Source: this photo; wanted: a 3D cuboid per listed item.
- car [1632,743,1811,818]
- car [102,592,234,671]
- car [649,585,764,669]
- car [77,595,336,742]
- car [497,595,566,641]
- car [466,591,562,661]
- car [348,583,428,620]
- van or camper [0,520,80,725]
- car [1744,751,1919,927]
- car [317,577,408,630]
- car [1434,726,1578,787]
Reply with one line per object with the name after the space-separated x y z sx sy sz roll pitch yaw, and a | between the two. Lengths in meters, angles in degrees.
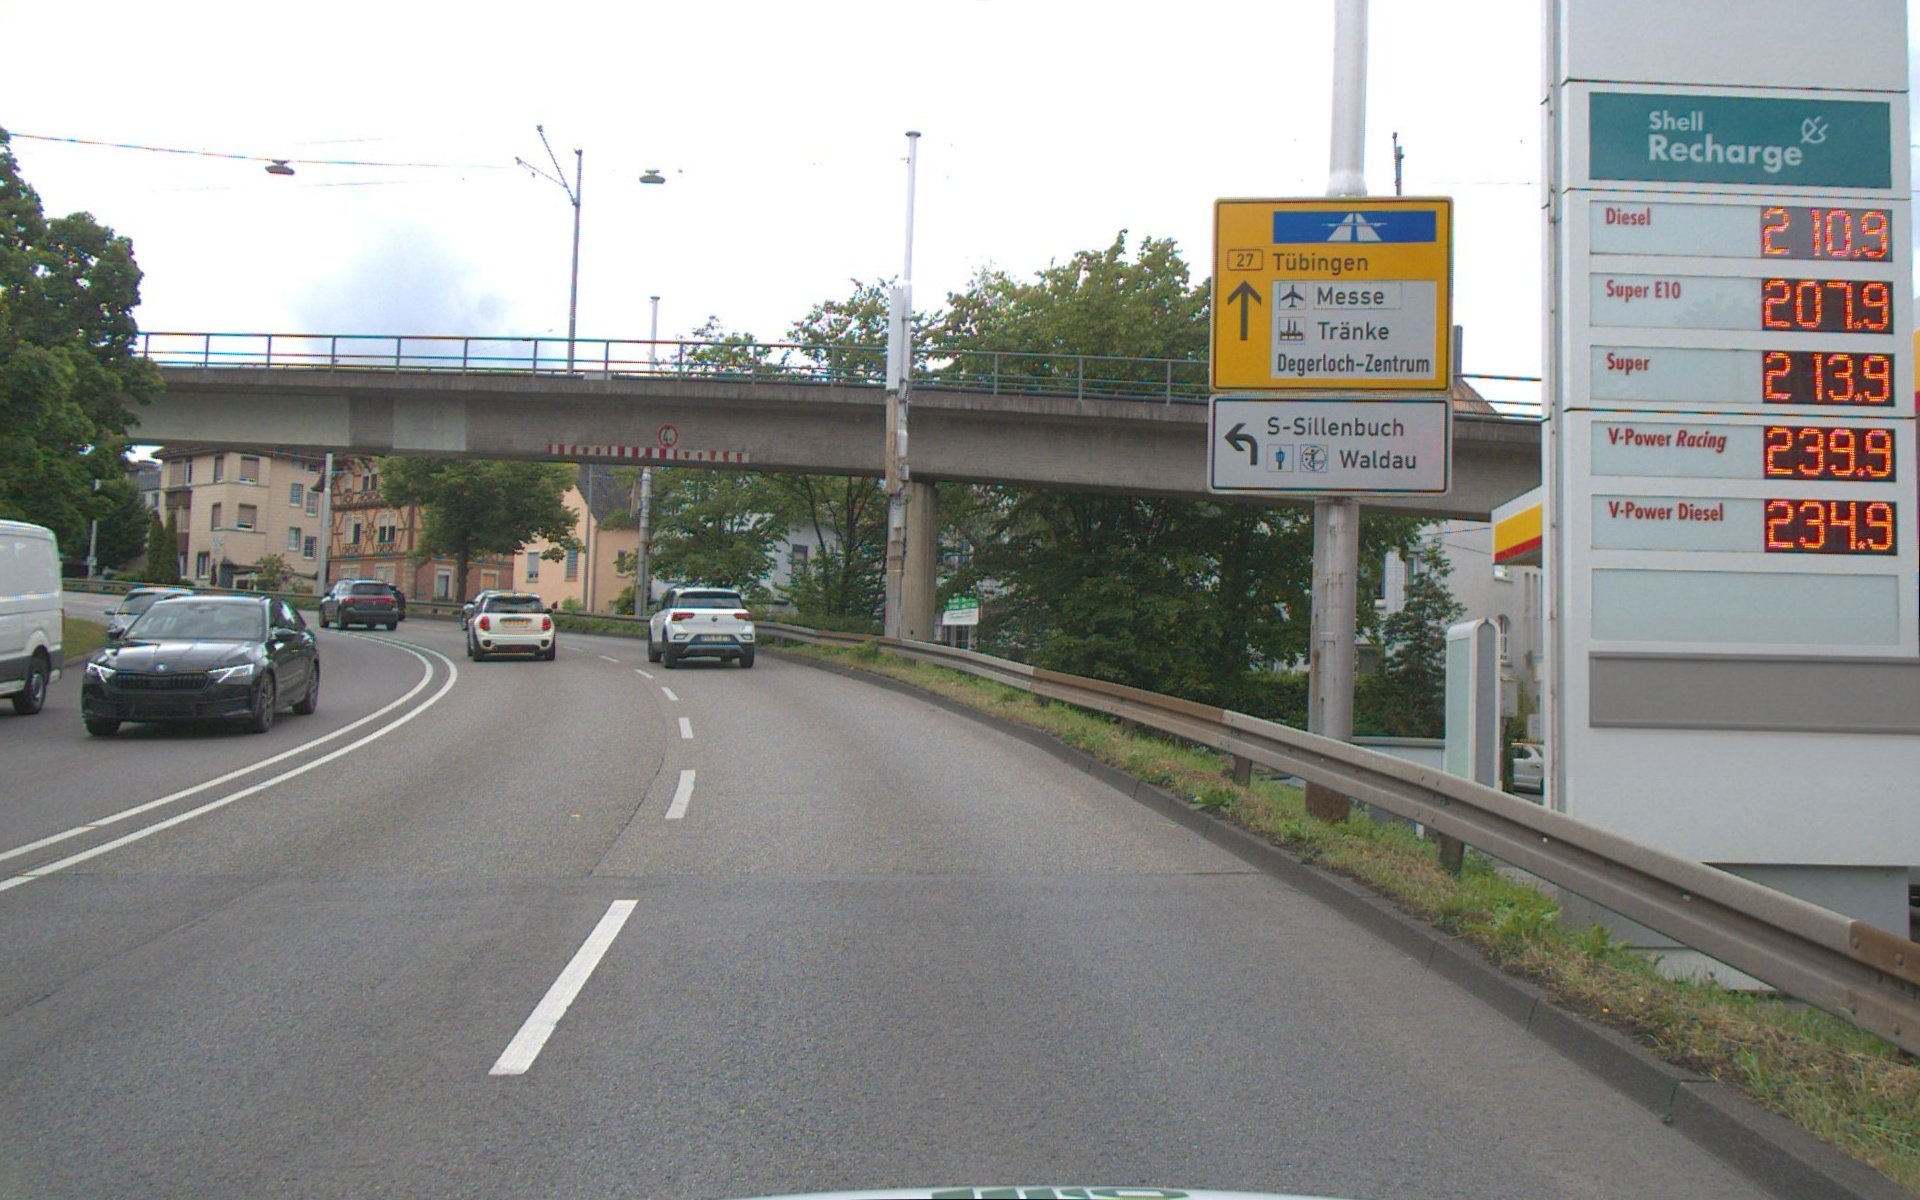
20.946 4.924 45.541 4.217 1.548 1.619 4 -2 35 | car
-15.342 0.569 32.208 1.675 1.433 3.792 0 0 -16 | car
-5.133 0.506 33.209 1.769 1.545 3.440 2 0 -17 | car
-8.407 0.679 18.858 1.704 1.439 4.417 0 0 -11 | car
-14.580 0.588 56.171 1.654 1.433 3.430 2 0 -25 | car
-9.726 0.542 35.901 1.697 1.400 3.436 2 0 -20 | car
-23.033 0.049 66.543 3.398 1.400 1.716 2 0 44 | car
-11.692 0.254 18.160 1.973 2.301 5.944 0 0 -12 | van or camper
12.595 3.208 23.030 1.698 2.046 4.716 0 -4 8 | car
-19.972 0.105 55.212 1.713 1.668 3.405 2 0 -41 | car
16.230 4.636 49.200 3.697 1.419 1.644 3 -2 37 | car
